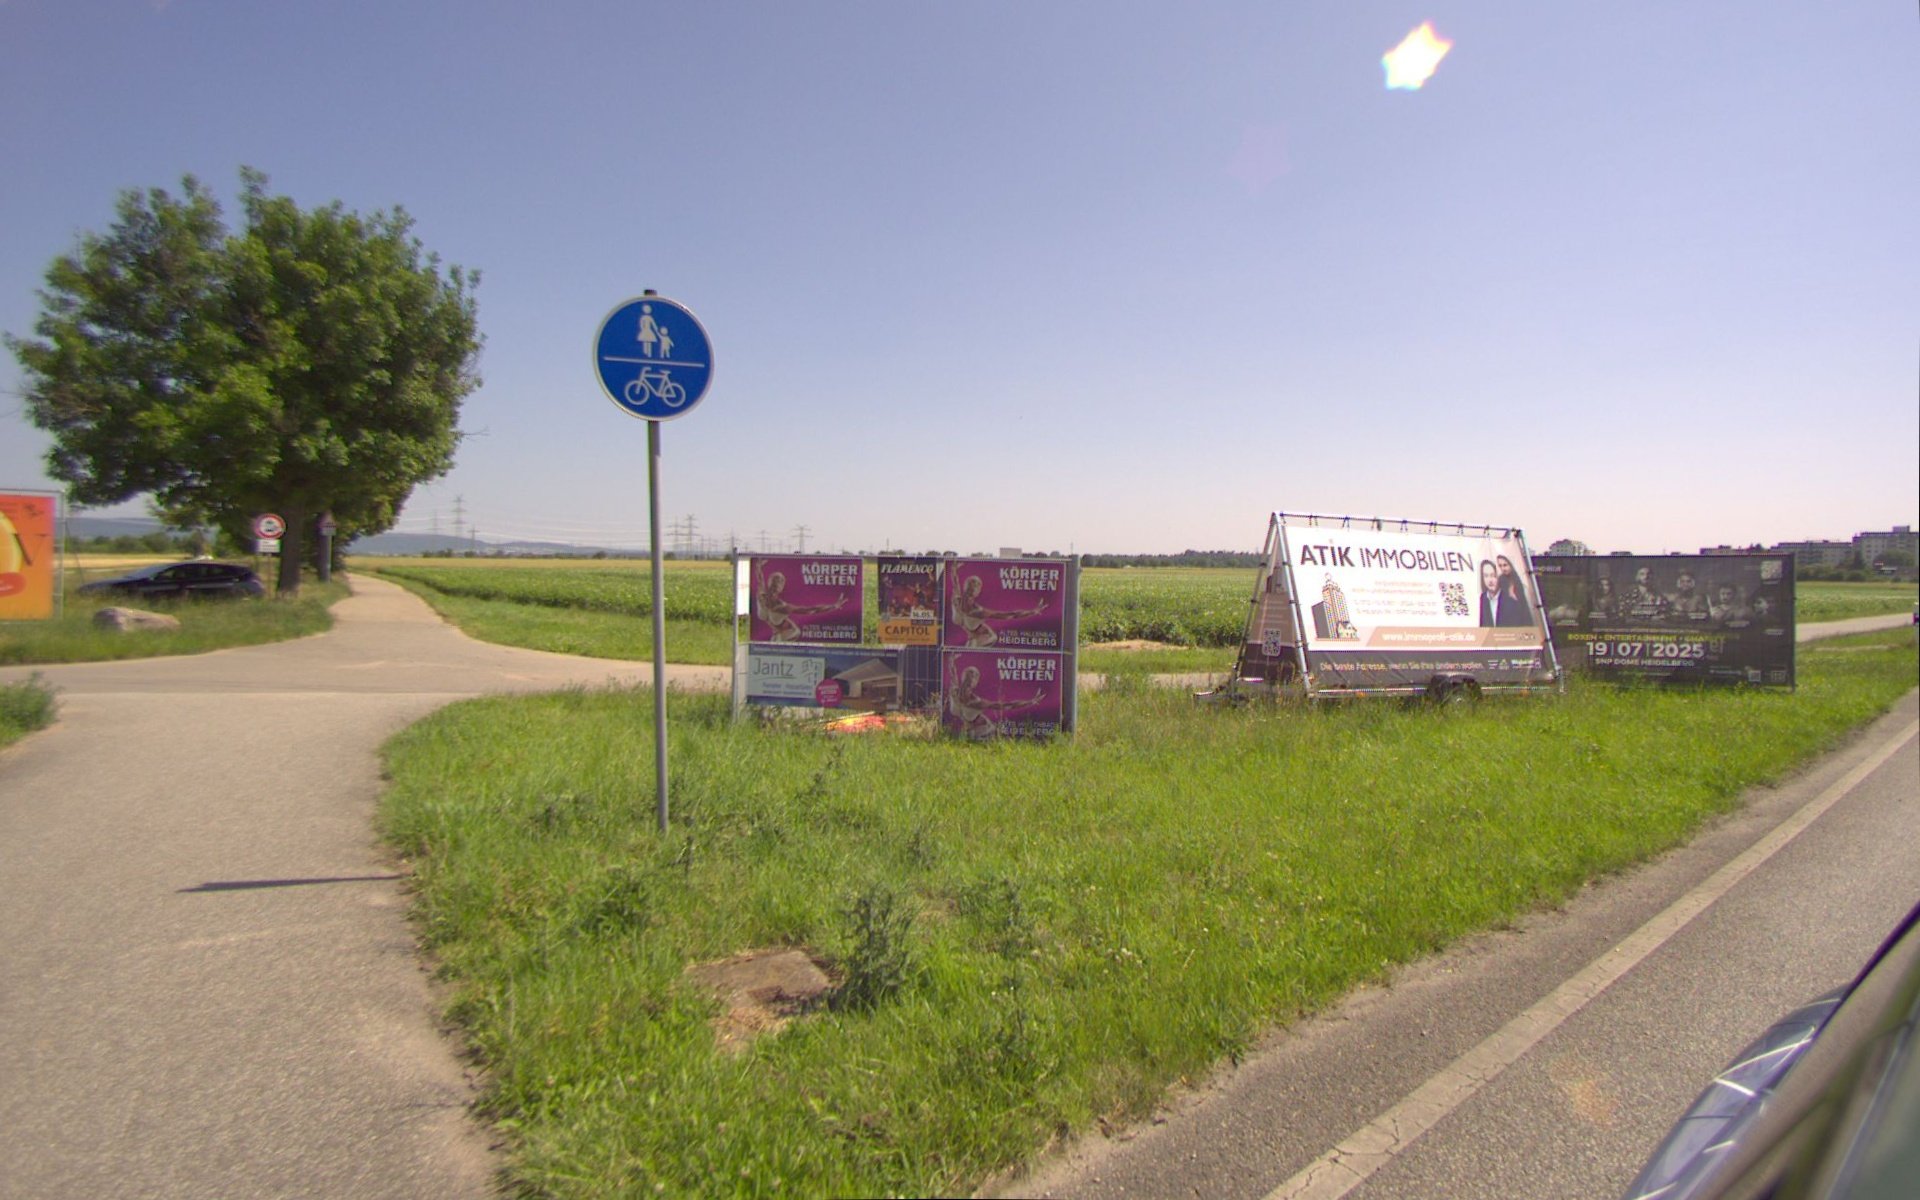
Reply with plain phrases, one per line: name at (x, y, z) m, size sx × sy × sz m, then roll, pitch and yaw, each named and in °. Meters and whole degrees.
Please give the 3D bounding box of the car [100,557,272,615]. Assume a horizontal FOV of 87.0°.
car at (-22.043, -0.424, 29.012) m, size 3.810 × 1.546 × 1.762 m, roll -1°, pitch 2°, yaw -36°

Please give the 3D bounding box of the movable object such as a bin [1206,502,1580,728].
movable object such as a bin at (5.246, 0.095, 12.221) m, size 4.332 × 2.392 × 1.530 m, roll -1°, pitch 1°, yaw -22°
